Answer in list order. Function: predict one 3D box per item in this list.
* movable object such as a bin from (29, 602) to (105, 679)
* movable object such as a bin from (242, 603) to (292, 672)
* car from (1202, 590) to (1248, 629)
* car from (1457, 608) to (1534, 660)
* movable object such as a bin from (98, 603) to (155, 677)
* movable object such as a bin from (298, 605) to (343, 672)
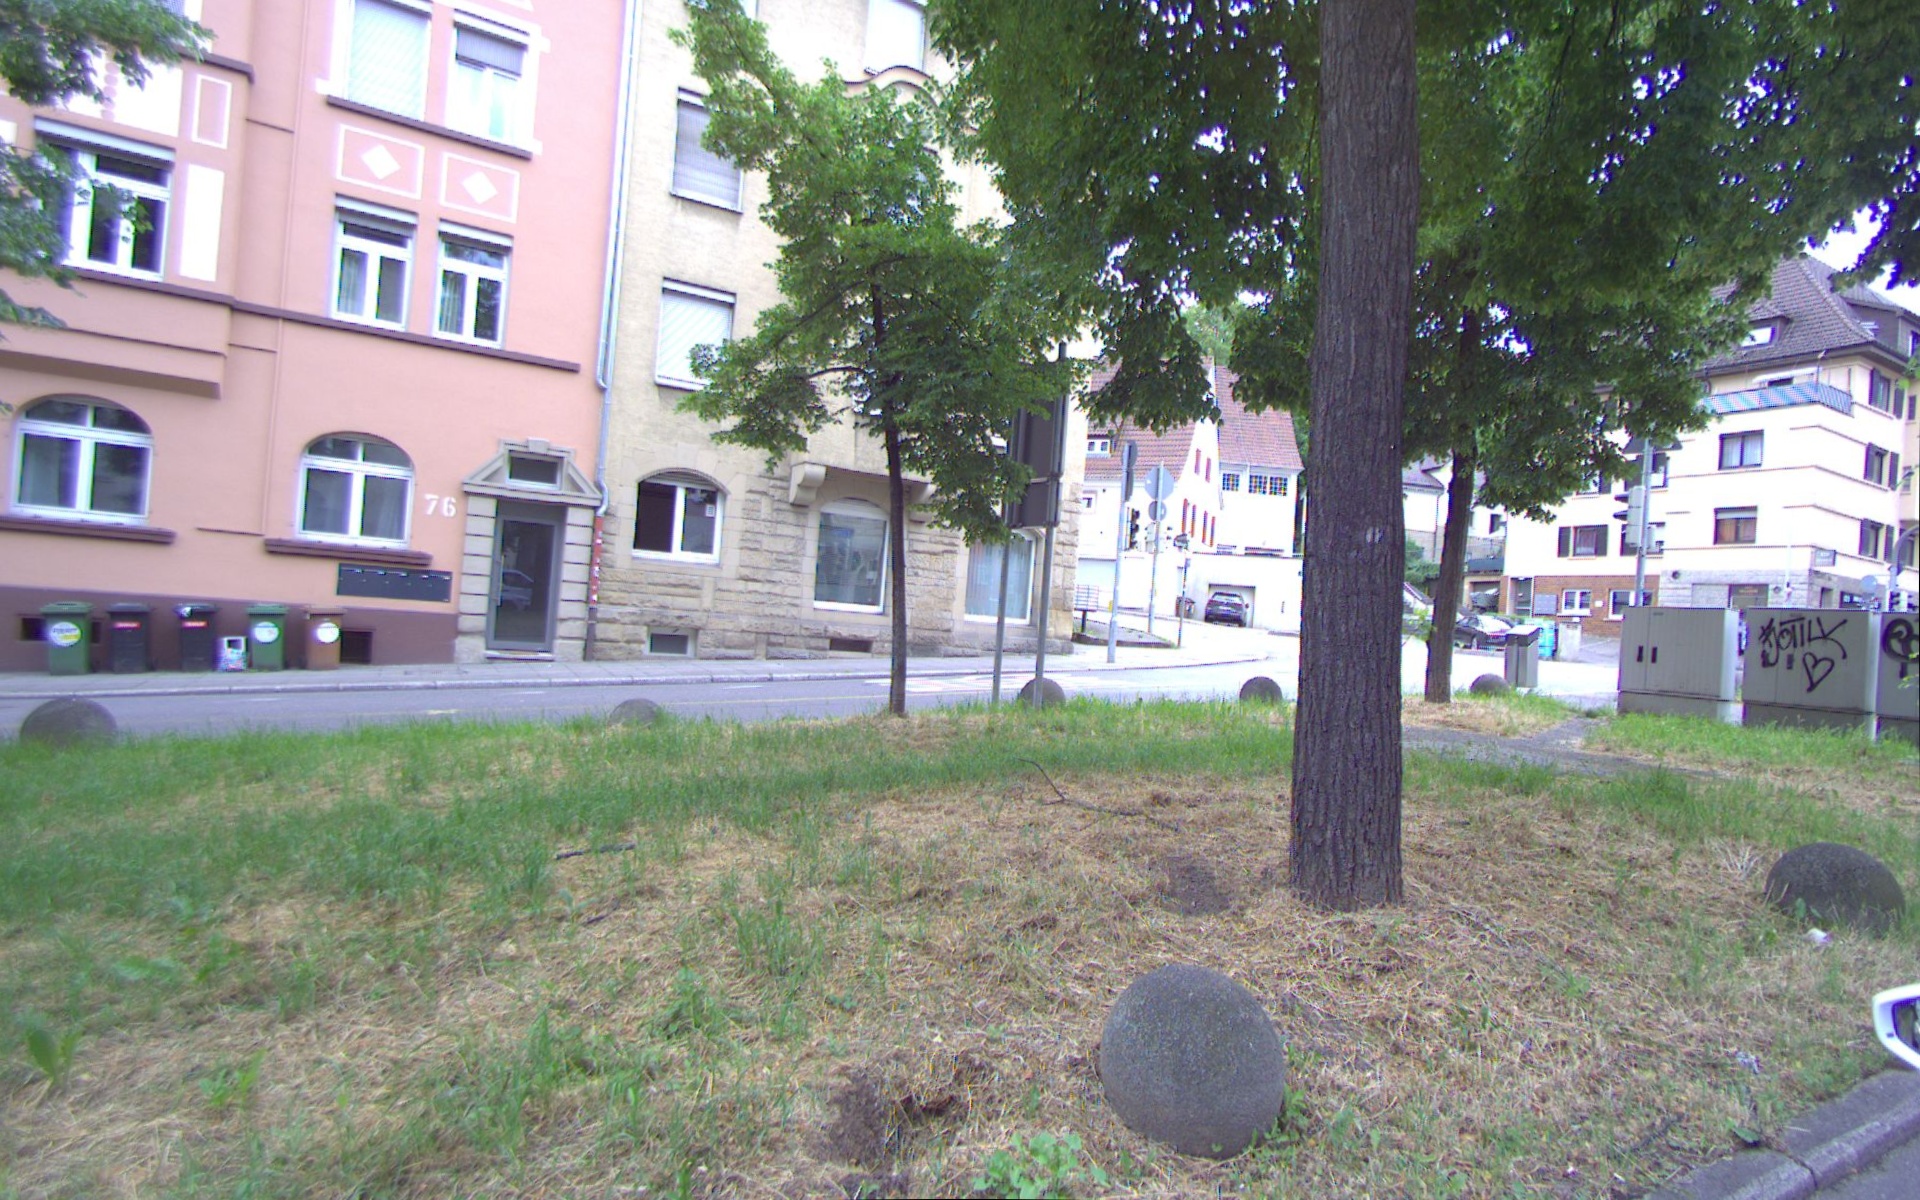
[{"bbox_3d":[-11.629,0.519,13.095,0.611,0.961,0.613,2,0,-31],"label":"movable object such as a bin"},{"bbox_3d":[-9.815,0.528,14.237,0.554,0.934,0.649,2,0,-34],"label":"movable object such as a bin"},{"bbox_3d":[11.765,0.380,44.798,1.638,1.424,3.058,7,3,11],"label":"car"},{"bbox_3d":[21.858,1.335,41.144,1.832,1.619,3.519,2,6,13],"label":"car"},{"bbox_3d":[-11.135,0.530,13.438,0.527,0.958,0.576,2,0,-36],"label":"movable object such as a bin"},{"bbox_3d":[-9.280,0.545,14.567,0.510,0.934,0.752,2,0,-34],"label":"movable object such as a bin"}]
